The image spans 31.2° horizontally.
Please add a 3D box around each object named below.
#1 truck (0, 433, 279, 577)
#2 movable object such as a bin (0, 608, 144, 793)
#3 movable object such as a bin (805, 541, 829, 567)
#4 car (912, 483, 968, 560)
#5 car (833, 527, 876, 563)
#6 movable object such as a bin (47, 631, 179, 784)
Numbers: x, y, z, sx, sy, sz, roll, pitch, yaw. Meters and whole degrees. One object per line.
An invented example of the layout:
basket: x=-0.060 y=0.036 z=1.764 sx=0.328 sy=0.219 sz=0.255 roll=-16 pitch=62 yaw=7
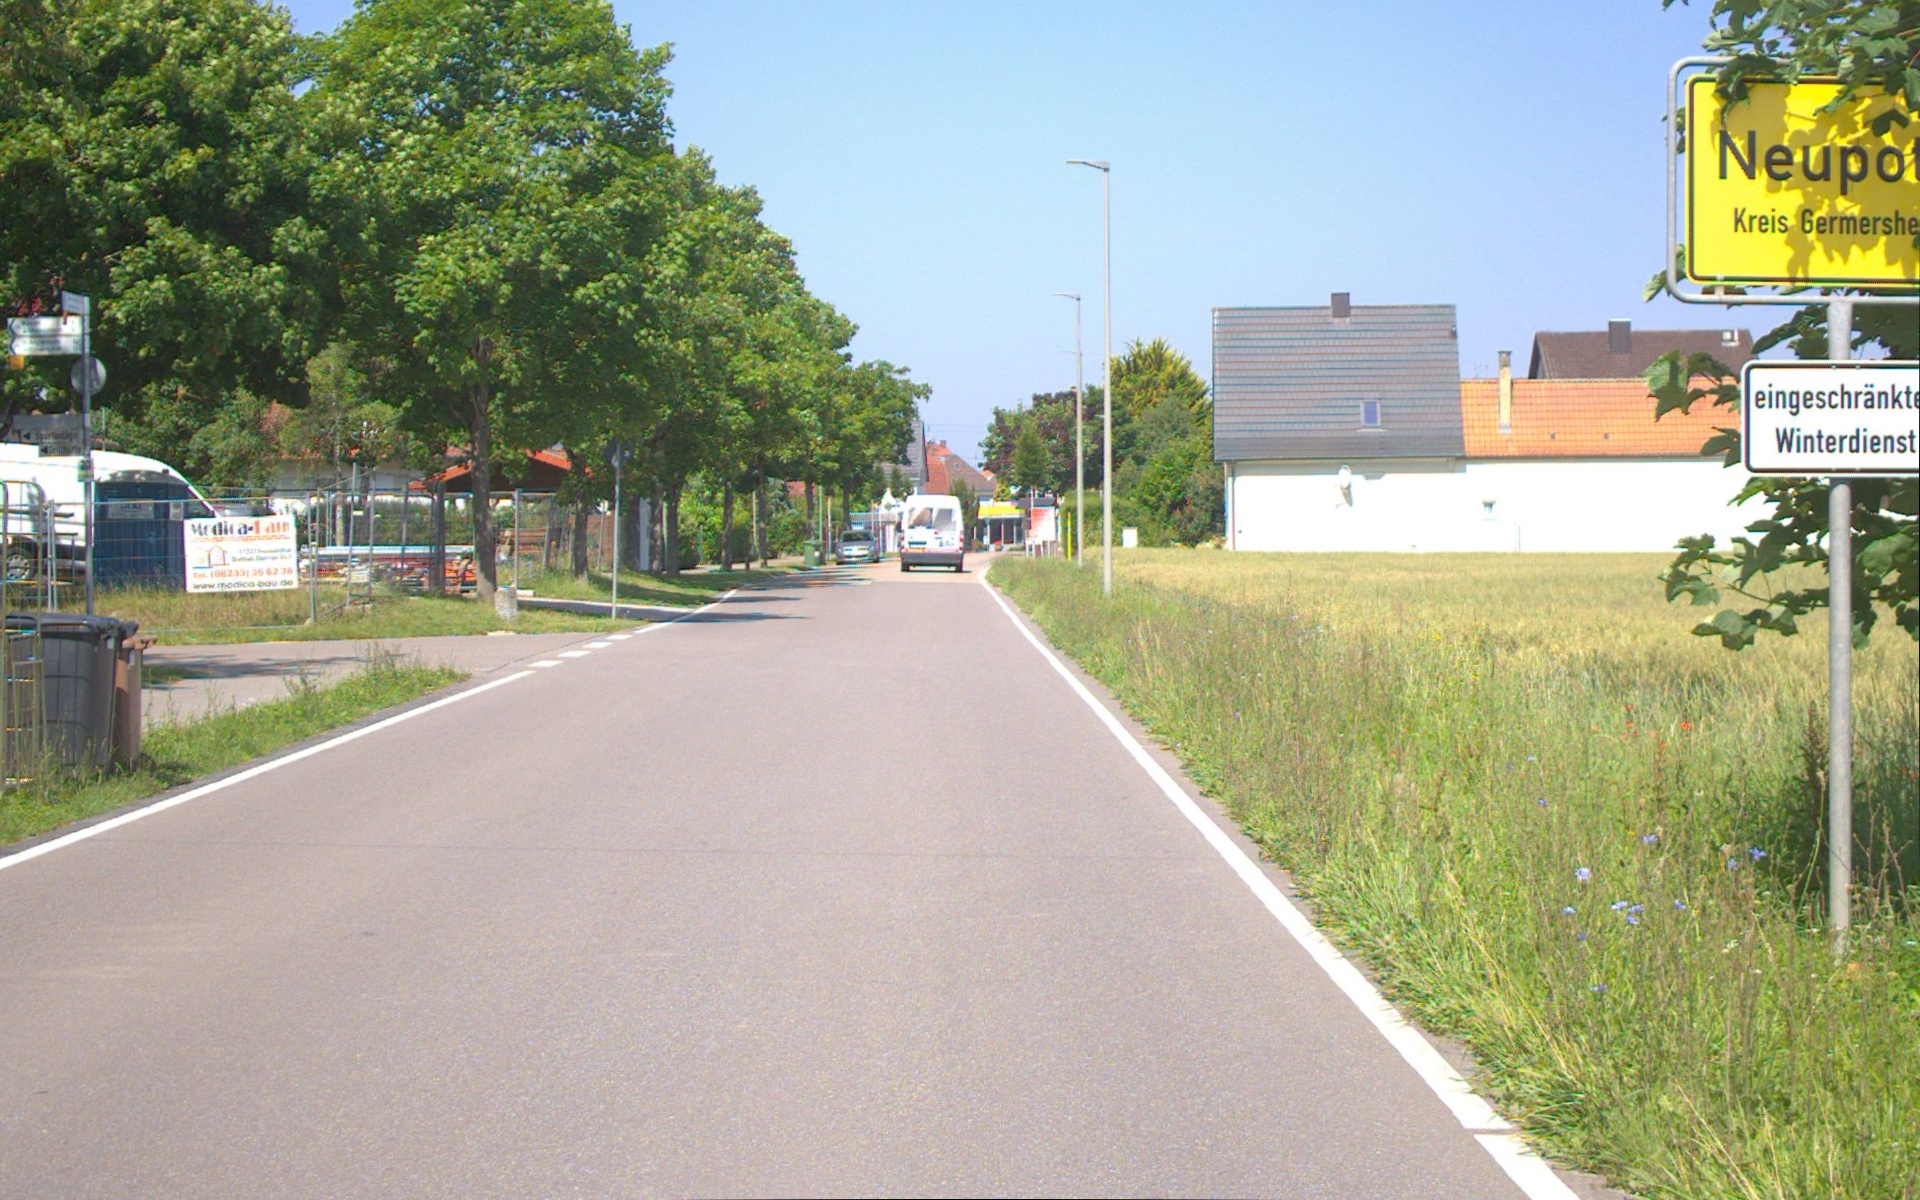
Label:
truck: x=-15.229 y=-1.657 z=60.951 sx=5.914 sy=2.475 sz=2.000 roll=-1 pitch=1 yaw=-37
movable object such as a bin: x=-5.186 y=0.572 z=19.820 sx=0.699 sy=1.020 sz=0.748 roll=-1 pitch=1 yaw=7
movable object such as a bin: x=-5.838 y=-1.880 z=140.406 sx=0.714 sy=1.075 sz=0.639 roll=0 pitch=1 yaw=27
car: x=-0.622 y=-2.518 z=111.234 sx=1.737 sy=2.424 sz=4.374 roll=-1 pitch=1 yaw=0
car: x=-4.465 y=-2.327 z=145.877 sx=1.647 sy=1.419 sz=4.080 roll=-3 pitch=1 yaw=0
movable object such as a bin: x=-5.046 y=0.635 z=20.512 sx=0.562 sy=0.874 sz=0.613 roll=-1 pitch=1 yaw=7
